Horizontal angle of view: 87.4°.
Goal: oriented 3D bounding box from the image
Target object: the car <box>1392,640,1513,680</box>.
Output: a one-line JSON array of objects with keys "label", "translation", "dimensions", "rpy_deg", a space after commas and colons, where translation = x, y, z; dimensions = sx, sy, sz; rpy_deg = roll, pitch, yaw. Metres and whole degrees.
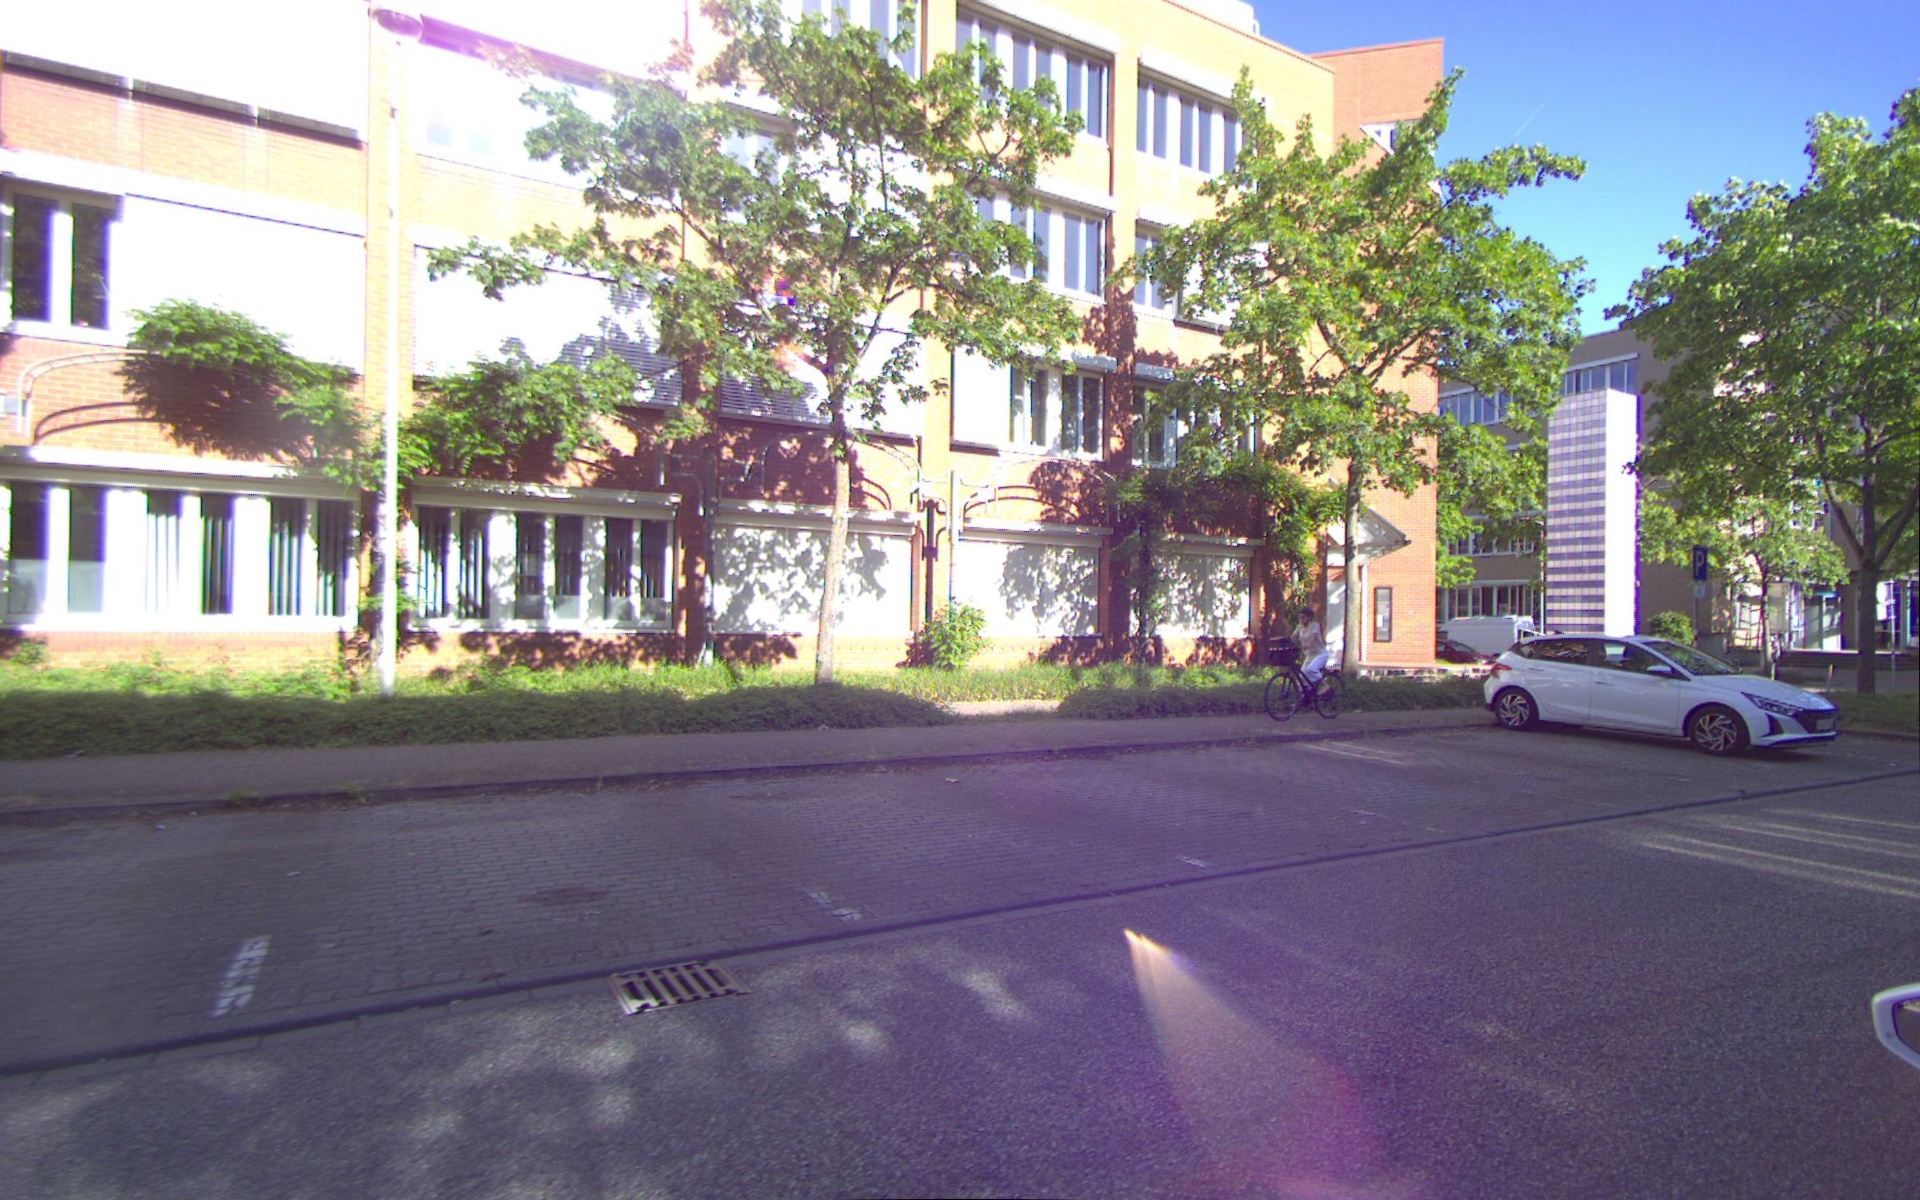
[{"label": "car", "translation": [20.487, 2.497, 41.929], "dimensions": [1.977, 1.496, 4.174], "rpy_deg": [5, -5, -29]}]

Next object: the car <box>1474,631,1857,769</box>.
[{"label": "car", "translation": [9.514, 1.243, 13.879], "dimensions": [1.786, 1.506, 3.967], "rpy_deg": [2, -1, -30]}]

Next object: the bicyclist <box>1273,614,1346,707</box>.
[{"label": "bicyclist", "translation": [5.325, 0.905, 15.307], "dimensions": [0.901, 1.371, 0.603], "rpy_deg": [1, -2, -26]}]

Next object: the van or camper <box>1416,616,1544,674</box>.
[{"label": "van or camper", "translation": [25.871, 2.205, 50.172], "dimensions": [2.155, 2.710, 5.344], "rpy_deg": [0, -1, -30]}]

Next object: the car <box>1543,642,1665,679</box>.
[{"label": "car", "translation": [28.848, 2.656, 45.113], "dimensions": [1.976, 1.496, 4.174], "rpy_deg": [0, -1, -29]}]

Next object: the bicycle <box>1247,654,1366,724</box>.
[{"label": "bicycle", "translation": [5.277, 1.329, 15.279], "dimensions": [1.839, 0.994, 0.603], "rpy_deg": [2, -2, -26]}]
